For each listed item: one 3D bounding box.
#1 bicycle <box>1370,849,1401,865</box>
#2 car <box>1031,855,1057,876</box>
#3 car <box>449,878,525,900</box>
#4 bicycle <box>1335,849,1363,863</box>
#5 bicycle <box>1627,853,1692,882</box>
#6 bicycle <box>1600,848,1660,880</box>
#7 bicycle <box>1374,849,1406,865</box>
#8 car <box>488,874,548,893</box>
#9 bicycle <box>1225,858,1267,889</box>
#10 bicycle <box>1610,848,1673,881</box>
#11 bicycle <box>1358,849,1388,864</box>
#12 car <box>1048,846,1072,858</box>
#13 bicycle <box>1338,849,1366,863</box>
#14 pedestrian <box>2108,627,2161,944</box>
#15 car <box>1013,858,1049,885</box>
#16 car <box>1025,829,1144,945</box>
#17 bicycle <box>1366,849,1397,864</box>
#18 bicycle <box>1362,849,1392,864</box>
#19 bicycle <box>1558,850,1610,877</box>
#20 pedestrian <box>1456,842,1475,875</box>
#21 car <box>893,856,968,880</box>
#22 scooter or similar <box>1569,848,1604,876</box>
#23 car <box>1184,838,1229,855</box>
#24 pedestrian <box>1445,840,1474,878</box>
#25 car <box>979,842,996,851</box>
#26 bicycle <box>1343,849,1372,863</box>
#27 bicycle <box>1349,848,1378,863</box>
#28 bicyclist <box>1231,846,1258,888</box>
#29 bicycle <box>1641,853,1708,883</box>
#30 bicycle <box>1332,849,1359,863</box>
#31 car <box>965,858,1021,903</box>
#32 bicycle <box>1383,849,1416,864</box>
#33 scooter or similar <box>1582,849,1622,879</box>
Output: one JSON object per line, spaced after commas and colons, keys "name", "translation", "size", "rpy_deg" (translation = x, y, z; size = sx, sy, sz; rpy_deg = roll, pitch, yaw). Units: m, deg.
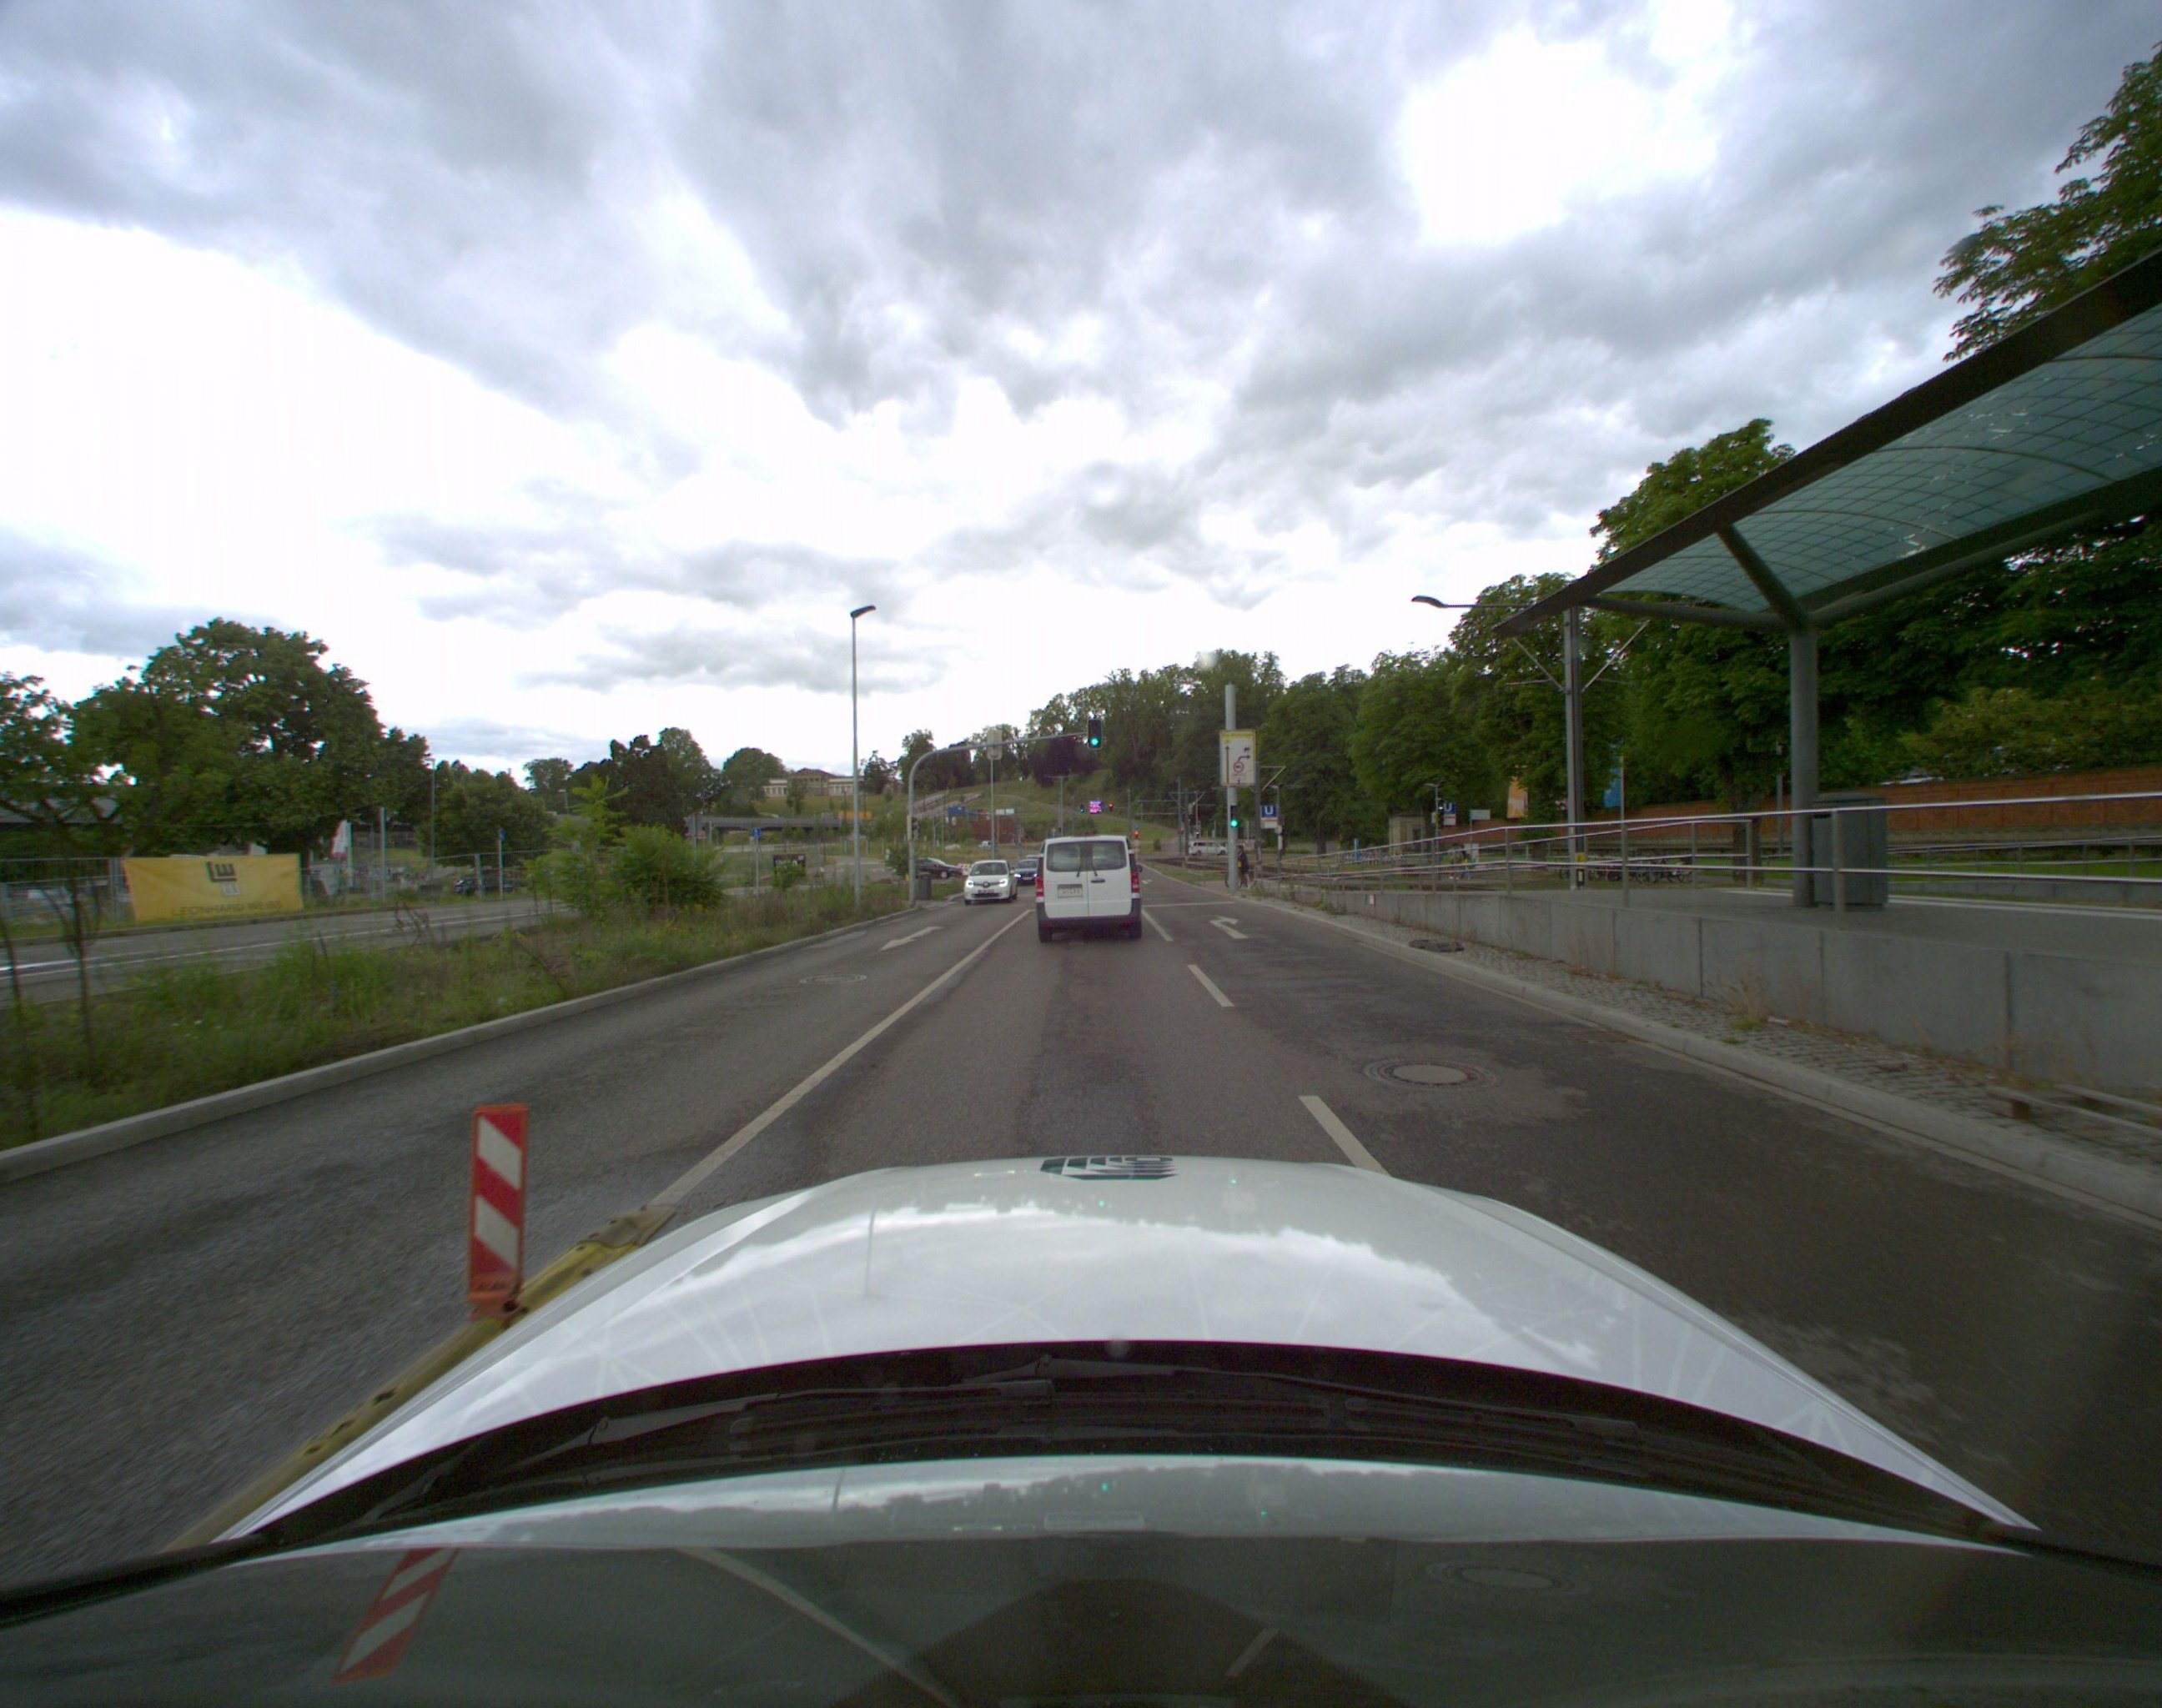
{"name": "bicycle", "translation": [20.507, 0.209, 54.861], "size": [1.905, 0.975, 0.531], "rpy_deg": [-2, 0, 1]}
{"name": "car", "translation": [-2.889, 0.869, 64.280], "size": [1.724, 1.529, 4.444], "rpy_deg": [-2, -1, 0]}
{"name": "car", "translation": [-41.946, 2.429, 57.565], "size": [1.781, 1.291, 3.946], "rpy_deg": [-2, 0, 38]}
{"name": "bicycle", "translation": [20.433, 0.132, 62.086], "size": [1.905, 0.975, 0.531], "rpy_deg": [-2, 0, 1]}
{"name": "bicycle", "translation": [20.189, 0.459, 28.445], "size": [1.866, 0.963, 0.533], "rpy_deg": [1, -1, 1]}
{"name": "bicycle", "translation": [20.378, 0.376, 30.236], "size": [1.866, 1.139, 0.533], "rpy_deg": [1, -1, 1]}
{"name": "bicycle", "translation": [20.545, 0.207, 54.214], "size": [1.905, 0.975, 0.531], "rpy_deg": [-2, 0, 1]}
{"name": "car", "translation": [-43.546, 2.272, 63.024], "size": [1.582, 1.291, 3.530], "rpy_deg": [-2, 0, 40]}
{"name": "bicycle", "translation": [6.218, 0.729, 30.703], "size": [1.692, 1.074, 0.613], "rpy_deg": [-2, 2, -39]}
{"name": "bicycle", "translation": [20.136, 0.384, 29.282], "size": [1.866, 1.139, 0.533], "rpy_deg": [1, -1, 1]}
{"name": "bicycle", "translation": [20.538, 0.160, 57.324], "size": [1.905, 0.975, 0.531], "rpy_deg": [-2, 0, 1]}
{"name": "car", "translation": [-2.859, -0.294, 111.548], "size": [1.946, 1.627, 3.968], "rpy_deg": [0, 0, -24]}
{"name": "bicycle", "translation": [20.337, 0.126, 61.105], "size": [1.905, 0.975, 0.531], "rpy_deg": [-2, 0, 1]}
{"name": "pedestrian", "translation": [5.666, -0.323, 3.783], "size": [0.747, 1.553, 0.775], "rpy_deg": [1, 2, 2]}
{"name": "car", "translation": [-2.827, 0.967, 47.252], "size": [1.724, 1.421, 4.444], "rpy_deg": [-2, -1, 0]}
{"name": "car", "translation": [0.226, 0.554, 15.909], "size": [1.950, 1.904, 4.467], "rpy_deg": [-2, 0, 4]}
{"name": "bicycle", "translation": [20.557, 0.162, 55.801], "size": [1.905, 0.975, 0.531], "rpy_deg": [-2, 0, 1]}
{"name": "bicycle", "translation": [20.538, 0.168, 56.542], "size": [1.905, 0.975, 0.531], "rpy_deg": [-2, 0, 1]}
{"name": "bicycle", "translation": [20.115, 0.374, 32.589], "size": [1.757, 1.034, 0.484], "rpy_deg": [1, -1, 1]}
{"name": "pedestrian", "translation": [17.480, 0.214, 37.036], "size": [0.498, 1.502, 0.512], "rpy_deg": [-2, 0, -21]}
{"name": "car", "translation": [-10.632, 1.006, 57.653], "size": [4.679, 1.477, 2.006], "rpy_deg": [-2, 1, 10]}
{"name": "scooter or similar", "translation": [20.793, 0.319, 33.515], "size": [1.152, 1.139, 0.335], "rpy_deg": [1, -1, 25]}
{"name": "car", "translation": [15.894, -0.939, 103.259], "size": [5.131, 2.013, 2.201], "rpy_deg": [0, 0, -9]}
{"name": "pedestrian", "translation": [16.811, 0.223, 36.189], "size": [0.835, 1.609, 0.773], "rpy_deg": [-2, 0, -21]}
{"name": "car", "translation": [-17.133, -1.381, 148.652], "size": [1.947, 1.627, 3.967], "rpy_deg": [0, 0, -25]}
{"name": "bicycle", "translation": [20.493, 0.114, 60.377], "size": [1.905, 0.975, 0.531], "rpy_deg": [-2, 0, 1]}
{"name": "bicycle", "translation": [20.669, 0.104, 59.561], "size": [1.905, 0.975, 0.531], "rpy_deg": [-2, 0, 1]}
{"name": "bicyclist", "translation": [6.137, 0.477, 30.642], "size": [0.810, 1.572, 0.611], "rpy_deg": [-2, 1, -39]}
{"name": "bicycle", "translation": [20.197, 0.467, 27.718], "size": [1.866, 0.963, 0.533], "rpy_deg": [1, -1, 1]}
{"name": "bicycle", "translation": [20.495, 0.138, 63.011], "size": [1.905, 0.975, 0.531], "rpy_deg": [-2, 0, 1]}
{"name": "car", "translation": [-3.213, 0.948, 30.369], "size": [1.586, 1.517, 4.084], "rpy_deg": [-2, -1, 0]}
{"name": "bicycle", "translation": [20.779, 0.167, 53.099], "size": [1.905, 0.895, 0.531], "rpy_deg": [-2, 0, 1]}
{"name": "scooter or similar", "translation": [20.191, 0.394, 31.586], "size": [1.267, 1.139, 0.334], "rpy_deg": [1, -1, 8]}
